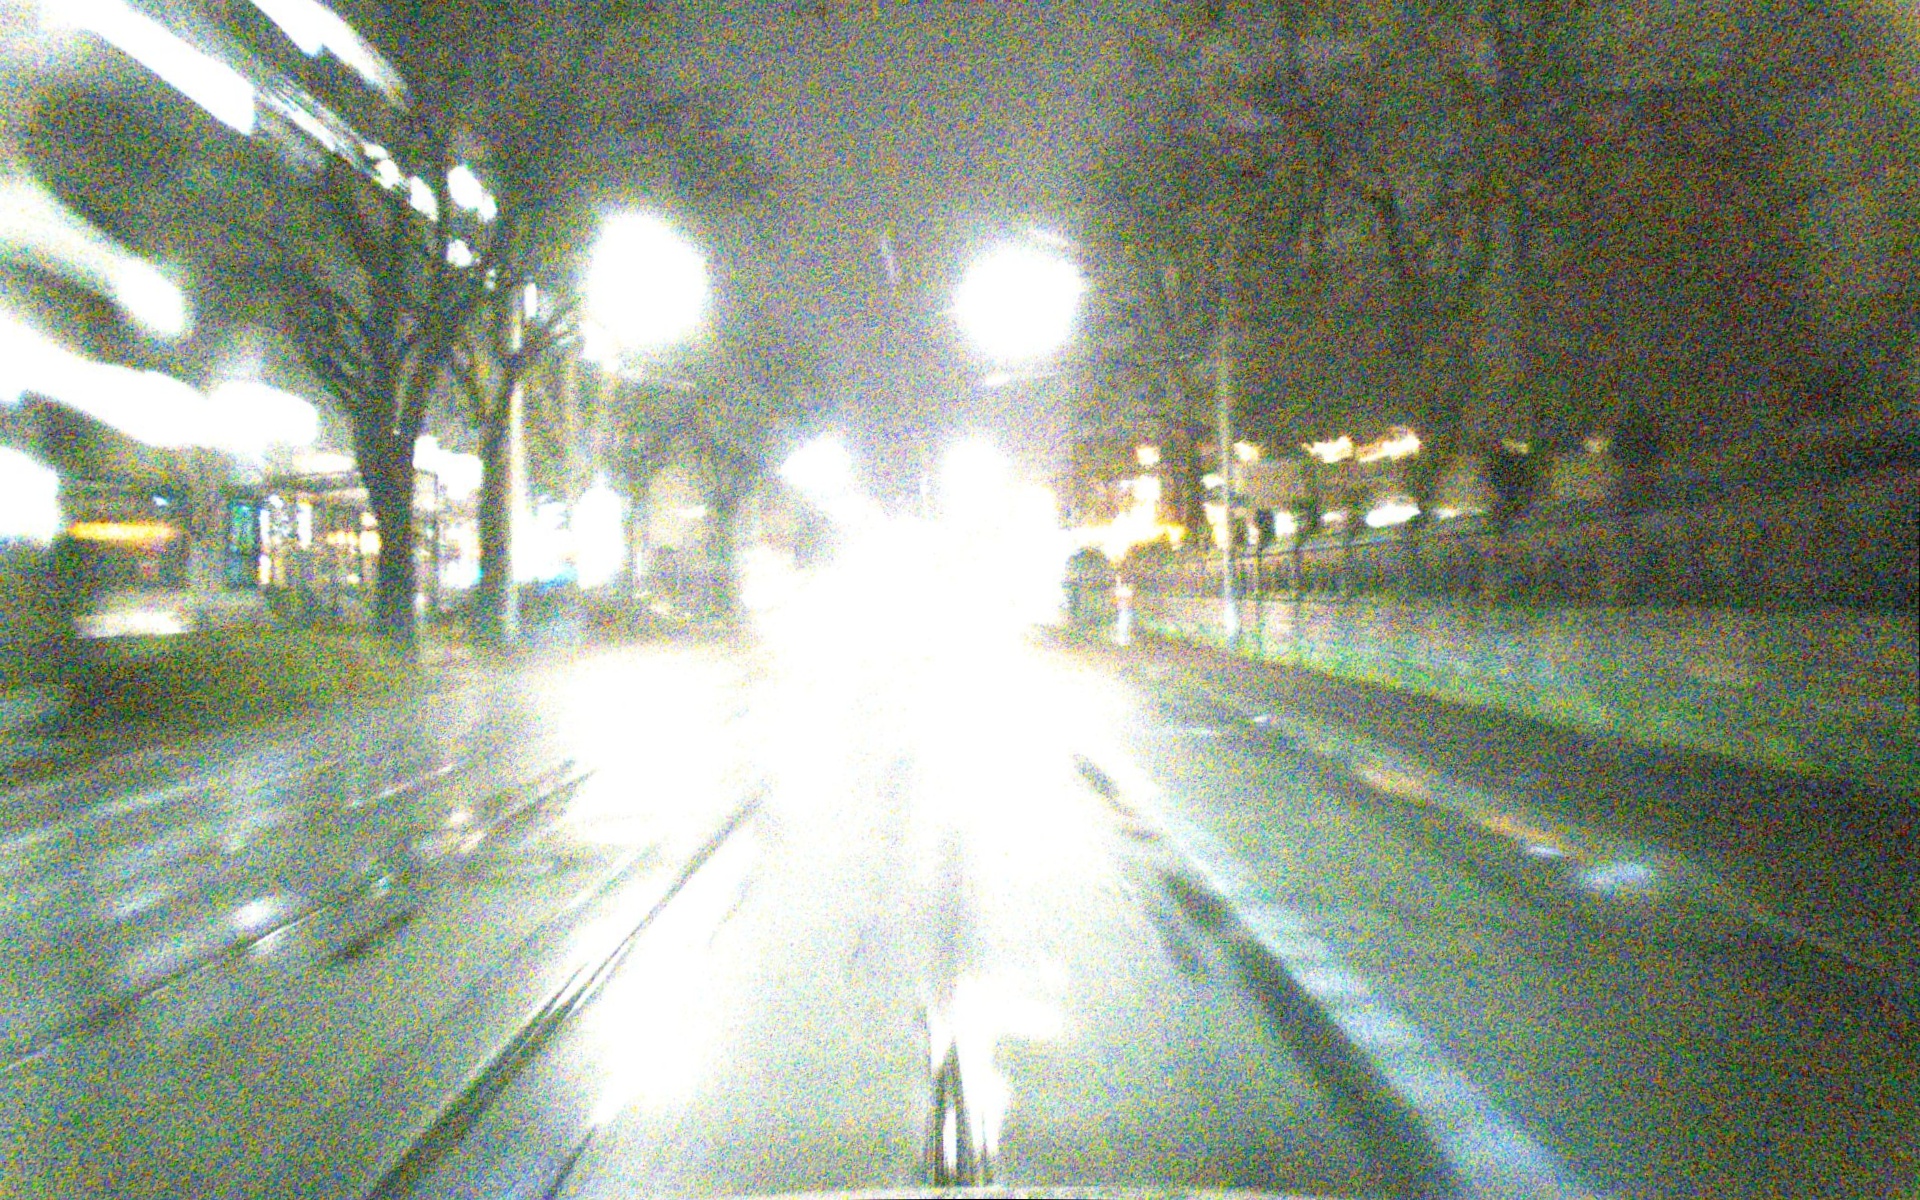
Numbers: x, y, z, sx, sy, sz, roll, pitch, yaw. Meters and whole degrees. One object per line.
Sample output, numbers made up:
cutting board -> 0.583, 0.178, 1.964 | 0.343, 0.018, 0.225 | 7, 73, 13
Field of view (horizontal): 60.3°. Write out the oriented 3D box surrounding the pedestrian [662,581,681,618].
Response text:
pedestrian -> -13.653, -0.033, 78.336 | 0.770, 1.716, 0.882 | 0, 0, -1

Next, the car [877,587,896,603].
car -> -9.008, -0.576, 202.820 | 2.274, 1.966, 4.959 | 0, 0, -4

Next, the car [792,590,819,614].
car -> -13.548, 0.166, 145.076 | 1.952, 2.049, 4.000 | 0, 0, 0

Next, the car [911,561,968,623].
car -> -0.854, -0.318, 66.044 | 2.199, 2.402, 4.392 | 0, 0, -2

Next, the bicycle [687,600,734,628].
bicycle -> -10.178, 0.567, 67.377 | 1.816, 1.096, 0.627 | 0, 0, -1

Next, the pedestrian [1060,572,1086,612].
pedestrian -> 4.868, -0.353, 71.280 | 0.921, 1.693, 0.993 | -2, 0, -5
